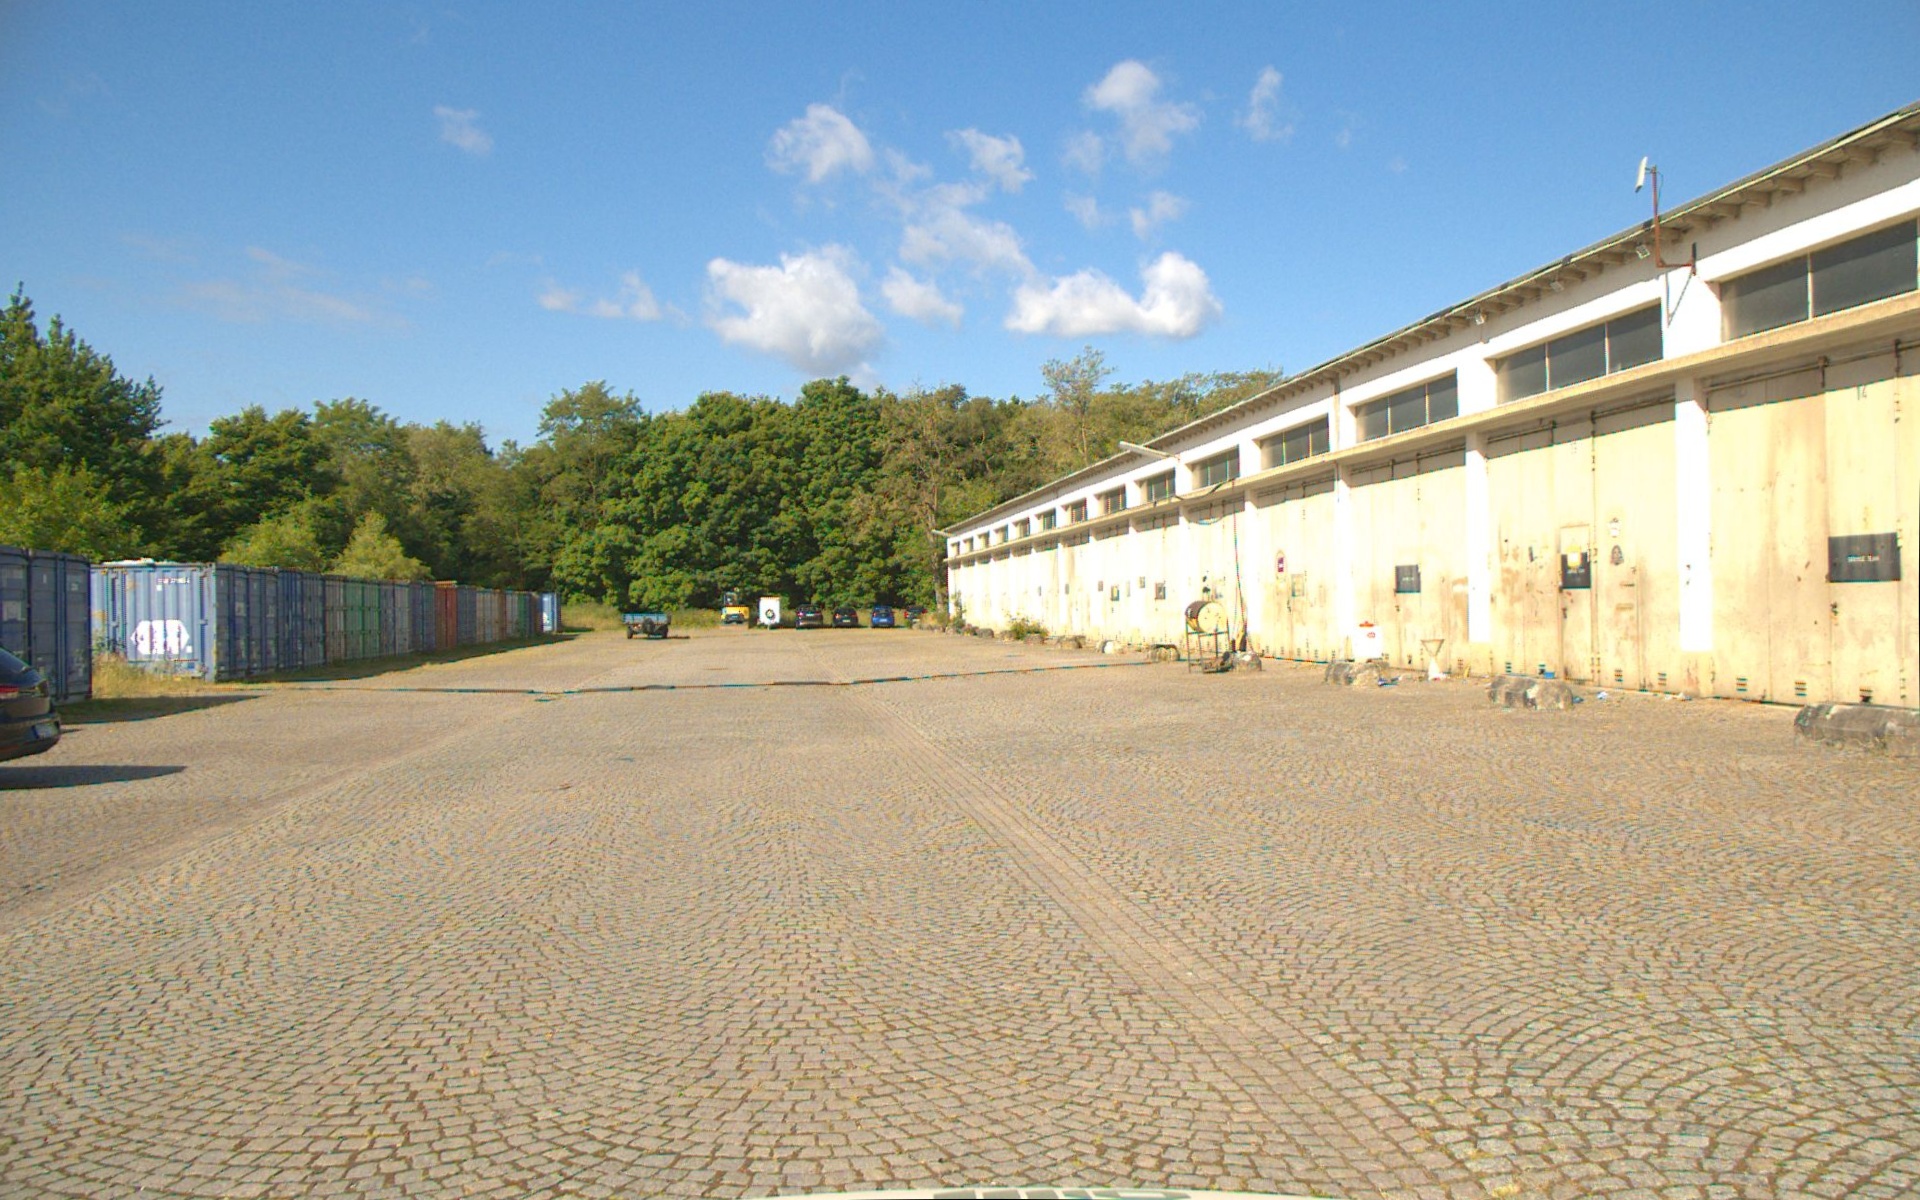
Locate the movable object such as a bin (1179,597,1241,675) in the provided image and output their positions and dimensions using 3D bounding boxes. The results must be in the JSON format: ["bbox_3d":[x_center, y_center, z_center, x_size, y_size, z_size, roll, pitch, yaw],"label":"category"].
[{"bbox_3d":[4.732,0.664,31.329,0.858,1.426,1.099,-1,0,-8],"label":"movable object such as a bin"}]

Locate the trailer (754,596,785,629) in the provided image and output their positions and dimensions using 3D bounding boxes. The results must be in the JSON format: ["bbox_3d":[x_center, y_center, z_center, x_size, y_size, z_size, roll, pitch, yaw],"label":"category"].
[{"bbox_3d":[-13.142,0.847,113.984,1.956,2.200,4.424,-2,0,-8],"label":"trailer"}]

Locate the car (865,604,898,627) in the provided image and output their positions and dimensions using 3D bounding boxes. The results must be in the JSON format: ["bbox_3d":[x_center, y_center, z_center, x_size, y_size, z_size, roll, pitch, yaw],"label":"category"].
[{"bbox_3d":[-5.450,1.043,114.117,1.956,1.491,3.993,-2,0,-7],"label":"car"}]

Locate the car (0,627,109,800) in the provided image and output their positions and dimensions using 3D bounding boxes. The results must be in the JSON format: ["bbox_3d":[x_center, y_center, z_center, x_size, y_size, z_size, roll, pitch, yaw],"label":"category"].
[{"bbox_3d":[-10.388,1.007,14.984,4.335,1.490,1.995,0,0,-11],"label":"car"}]

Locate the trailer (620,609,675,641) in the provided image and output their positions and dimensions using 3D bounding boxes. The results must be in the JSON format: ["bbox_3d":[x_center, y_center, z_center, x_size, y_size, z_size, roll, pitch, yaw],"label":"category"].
[{"bbox_3d":[-17.847,1.394,94.675,2.739,1.675,5.610,-2,0,-8],"label":"trailer"}]

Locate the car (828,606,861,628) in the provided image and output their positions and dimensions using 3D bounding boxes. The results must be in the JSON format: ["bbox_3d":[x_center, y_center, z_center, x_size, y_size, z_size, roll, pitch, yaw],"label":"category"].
[{"bbox_3d":[-7.971,1.155,113.795,1.956,1.449,3.993,-2,0,-7],"label":"car"}]

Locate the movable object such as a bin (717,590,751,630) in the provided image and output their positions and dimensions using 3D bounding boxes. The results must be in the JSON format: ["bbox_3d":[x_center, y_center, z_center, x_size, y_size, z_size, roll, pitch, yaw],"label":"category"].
[{"bbox_3d":[-15.636,0.683,114.421,2.191,2.703,3.991,-2,0,-9],"label":"movable object such as a bin"}]

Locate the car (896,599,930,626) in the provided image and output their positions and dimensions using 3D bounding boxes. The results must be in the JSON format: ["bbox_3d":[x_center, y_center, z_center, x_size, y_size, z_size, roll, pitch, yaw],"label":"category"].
[{"bbox_3d":[-3.307,0.861,115.654,1.956,1.803,3.993,-2,0,-7],"label":"car"}]

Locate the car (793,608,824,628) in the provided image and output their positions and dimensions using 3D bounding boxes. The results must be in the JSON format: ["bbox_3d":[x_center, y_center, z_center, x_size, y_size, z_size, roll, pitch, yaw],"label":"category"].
[{"bbox_3d":[-10.384,1.249,113.101,1.956,1.280,3.993,-2,0,-7],"label":"car"}]
